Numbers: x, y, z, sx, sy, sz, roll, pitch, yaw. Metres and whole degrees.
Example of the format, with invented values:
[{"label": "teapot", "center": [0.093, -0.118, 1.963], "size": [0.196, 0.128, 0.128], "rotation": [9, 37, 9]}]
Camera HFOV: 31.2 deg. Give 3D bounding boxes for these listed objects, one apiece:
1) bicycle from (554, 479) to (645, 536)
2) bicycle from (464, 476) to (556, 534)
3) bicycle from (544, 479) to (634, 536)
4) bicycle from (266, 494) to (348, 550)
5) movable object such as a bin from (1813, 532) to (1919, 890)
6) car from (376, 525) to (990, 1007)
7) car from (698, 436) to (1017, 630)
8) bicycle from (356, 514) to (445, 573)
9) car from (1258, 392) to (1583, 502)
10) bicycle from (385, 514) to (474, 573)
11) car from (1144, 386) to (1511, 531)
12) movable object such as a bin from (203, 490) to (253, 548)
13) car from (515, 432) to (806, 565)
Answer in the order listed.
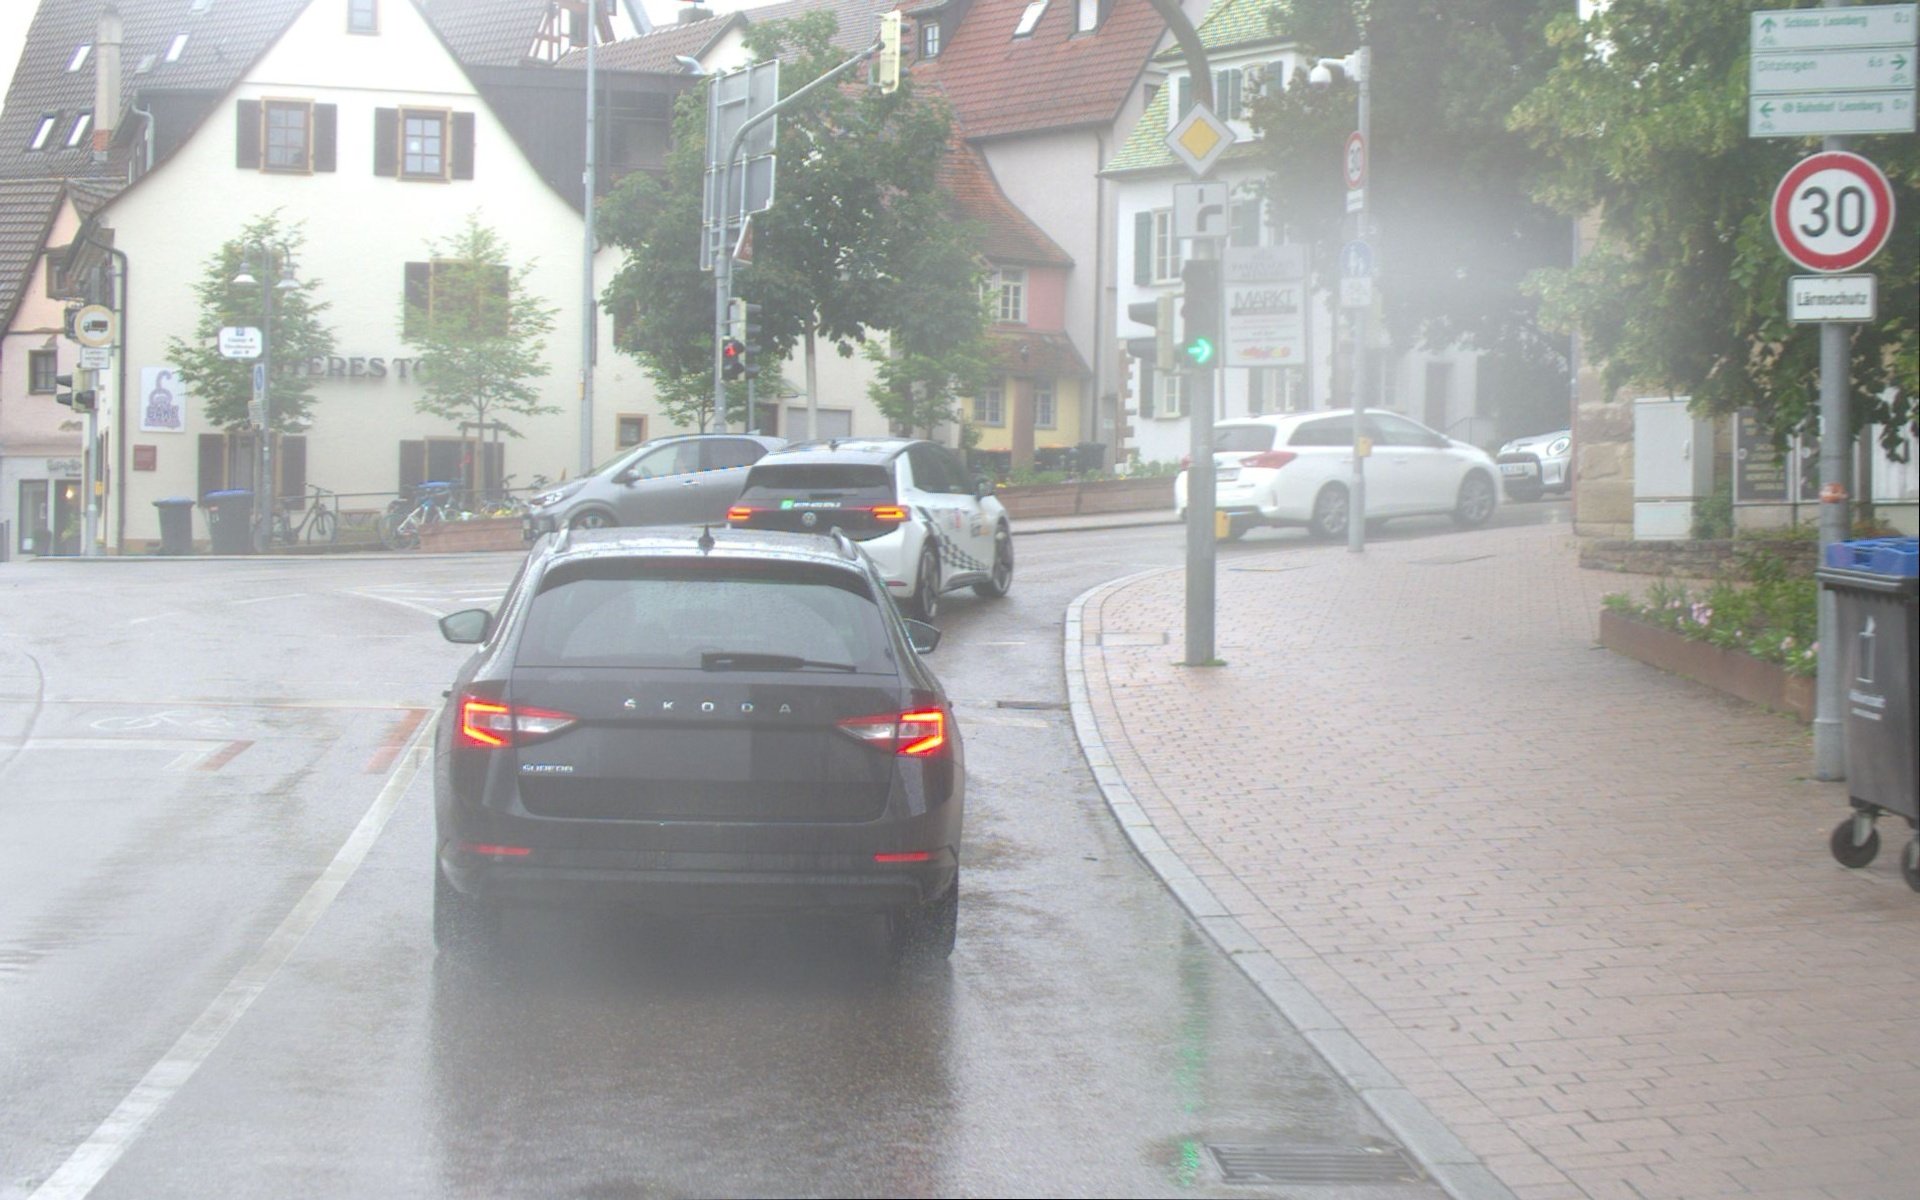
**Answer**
[{"label": "bicycle", "center": [-5.923, -1.532, 56.542], "size": [1.465, 0.909, 0.392], "rotation": [-1, 5, -36]}, {"label": "bicycle", "center": [-7.312, -1.550, 55.913], "size": [1.465, 0.909, 0.392], "rotation": [-1, 5, -36]}, {"label": "bicycle", "center": [-6.143, -1.538, 56.906], "size": [1.465, 0.909, 0.392], "rotation": [-1, 5, -36]}, {"label": "bicycle", "center": [-10.132, -1.210, 53.356], "size": [0.338, 0.815, 1.434], "rotation": [5, 5, 32]}, {"label": "movable object such as a bin", "center": [3.991, 0.402, 13.205], "size": [1.154, 1.308, 1.186], "rotation": [1, 1, 2]}, {"label": "car", "center": [-0.977, 0.472, 12.826], "size": [1.886, 1.443, 4.358], "rotation": [0, 2, -3]}, {"label": "car", "center": [-0.819, -0.650, 30.282], "size": [1.857, 1.467, 3.999], "rotation": [1, 5, 13]}, {"label": "bicycle", "center": [-8.817, -0.899, 54.236], "size": [0.392, 0.909, 1.466], "rotation": [2, 2, 41]}, {"label": "car", "center": [6.307, -2.087, 47.287], "size": [3.986, 1.426, 2.001], "rotation": [0, 2, -10]}, {"label": "bicycle", "center": [-8.331, -0.890, 54.039], "size": [0.392, 0.909, 1.466], "rotation": [2, 2, 41]}, {"label": "car", "center": [4.298, -1.605, 39.781], "size": [4.314, 1.590, 1.890], "rotation": [-1, 2, -44]}, {"label": "movable object such as a bin", "center": [-11.547, -1.284, 54.210], "size": [0.586, 0.898, 0.584], "rotation": [-1, 3, -35]}, {"label": "car", "center": [-3.733, -1.241, 42.638], "size": [3.378, 1.472, 1.536], "rotation": [2, -1, -13]}]
